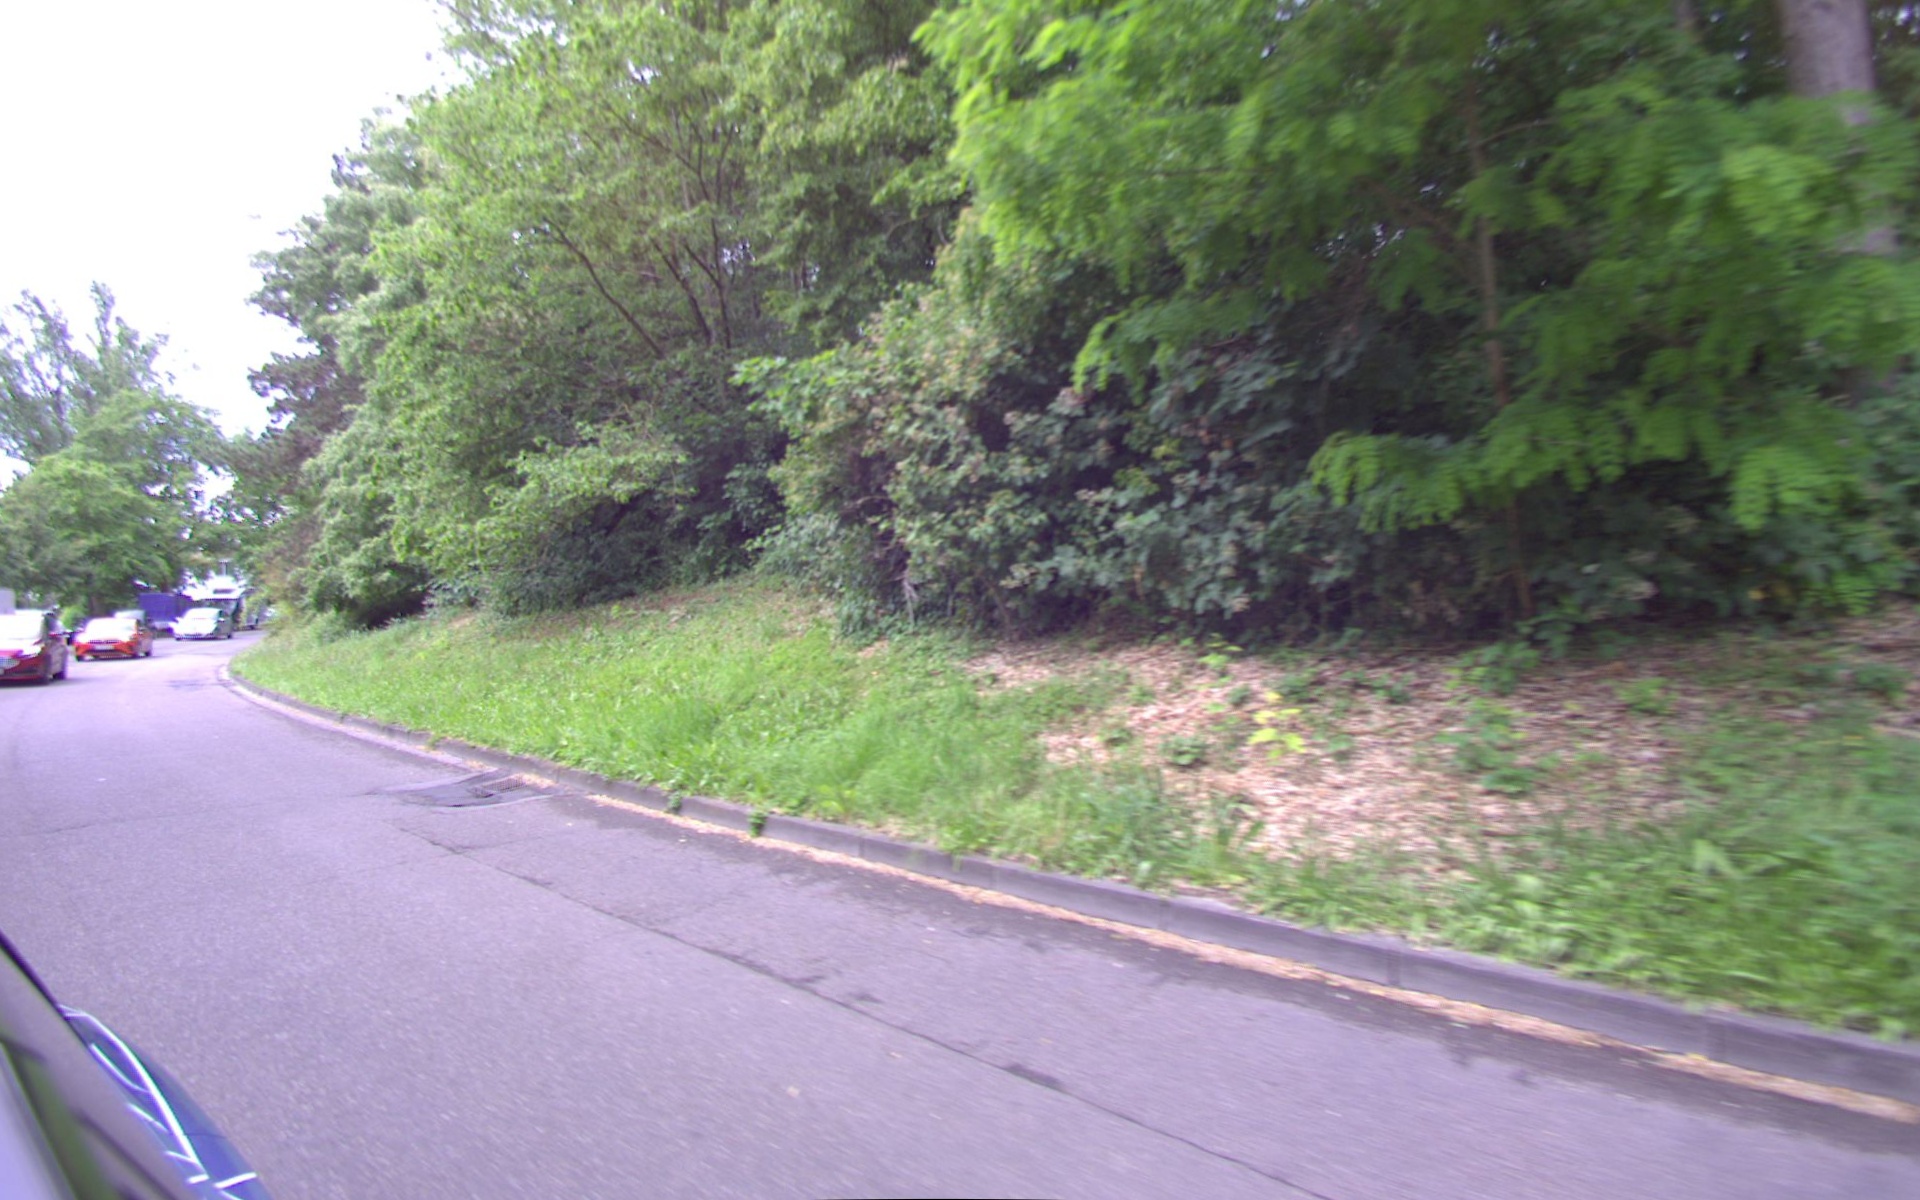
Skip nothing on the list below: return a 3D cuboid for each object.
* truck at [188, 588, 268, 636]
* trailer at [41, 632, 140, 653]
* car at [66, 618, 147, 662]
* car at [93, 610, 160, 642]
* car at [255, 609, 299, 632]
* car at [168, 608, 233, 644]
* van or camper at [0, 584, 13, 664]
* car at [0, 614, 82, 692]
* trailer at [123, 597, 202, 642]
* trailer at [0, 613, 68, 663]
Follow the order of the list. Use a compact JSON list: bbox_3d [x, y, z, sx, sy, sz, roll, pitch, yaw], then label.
[{"bbox_3d":[-47.971,0.764,66.489,2.271,2.955,7.055,0,0,-19],"label":"truck"},{"bbox_3d":[-39.624,1.920,46.305,2.075,0.656,6.422,-1,1,-28],"label":"trailer"},{"bbox_3d":[-29.820,1.395,35.486,1.837,1.460,4.185,0,-2,-36],"label":"car"},{"bbox_3d":[-42.475,1.345,51.629,1.705,1.534,3.416,-1,-1,-23],"label":"car"},{"bbox_3d":[-51.439,1.546,76.262,1.672,1.559,3.779,-1,1,-16],"label":"car"},{"bbox_3d":[-38.967,1.297,52.020,1.891,1.694,4.013,1,1,-25],"label":"car"},{"bbox_3d":[-31.065,0.786,30.841,2.132,2.555,6.048,-1,1,-33],"label":"van or camper"},{"bbox_3d":[-22.354,1.188,23.700,1.966,1.640,4.639,-1,1,-32],"label":"car"},{"bbox_3d":[-44.163,1.129,56.154,2.077,2.380,4.716,1,-2,-21],"label":"trailer"},{"bbox_3d":[-35.872,1.406,38.701,1.748,1.744,4.664,1,0,-31],"label":"trailer"}]
